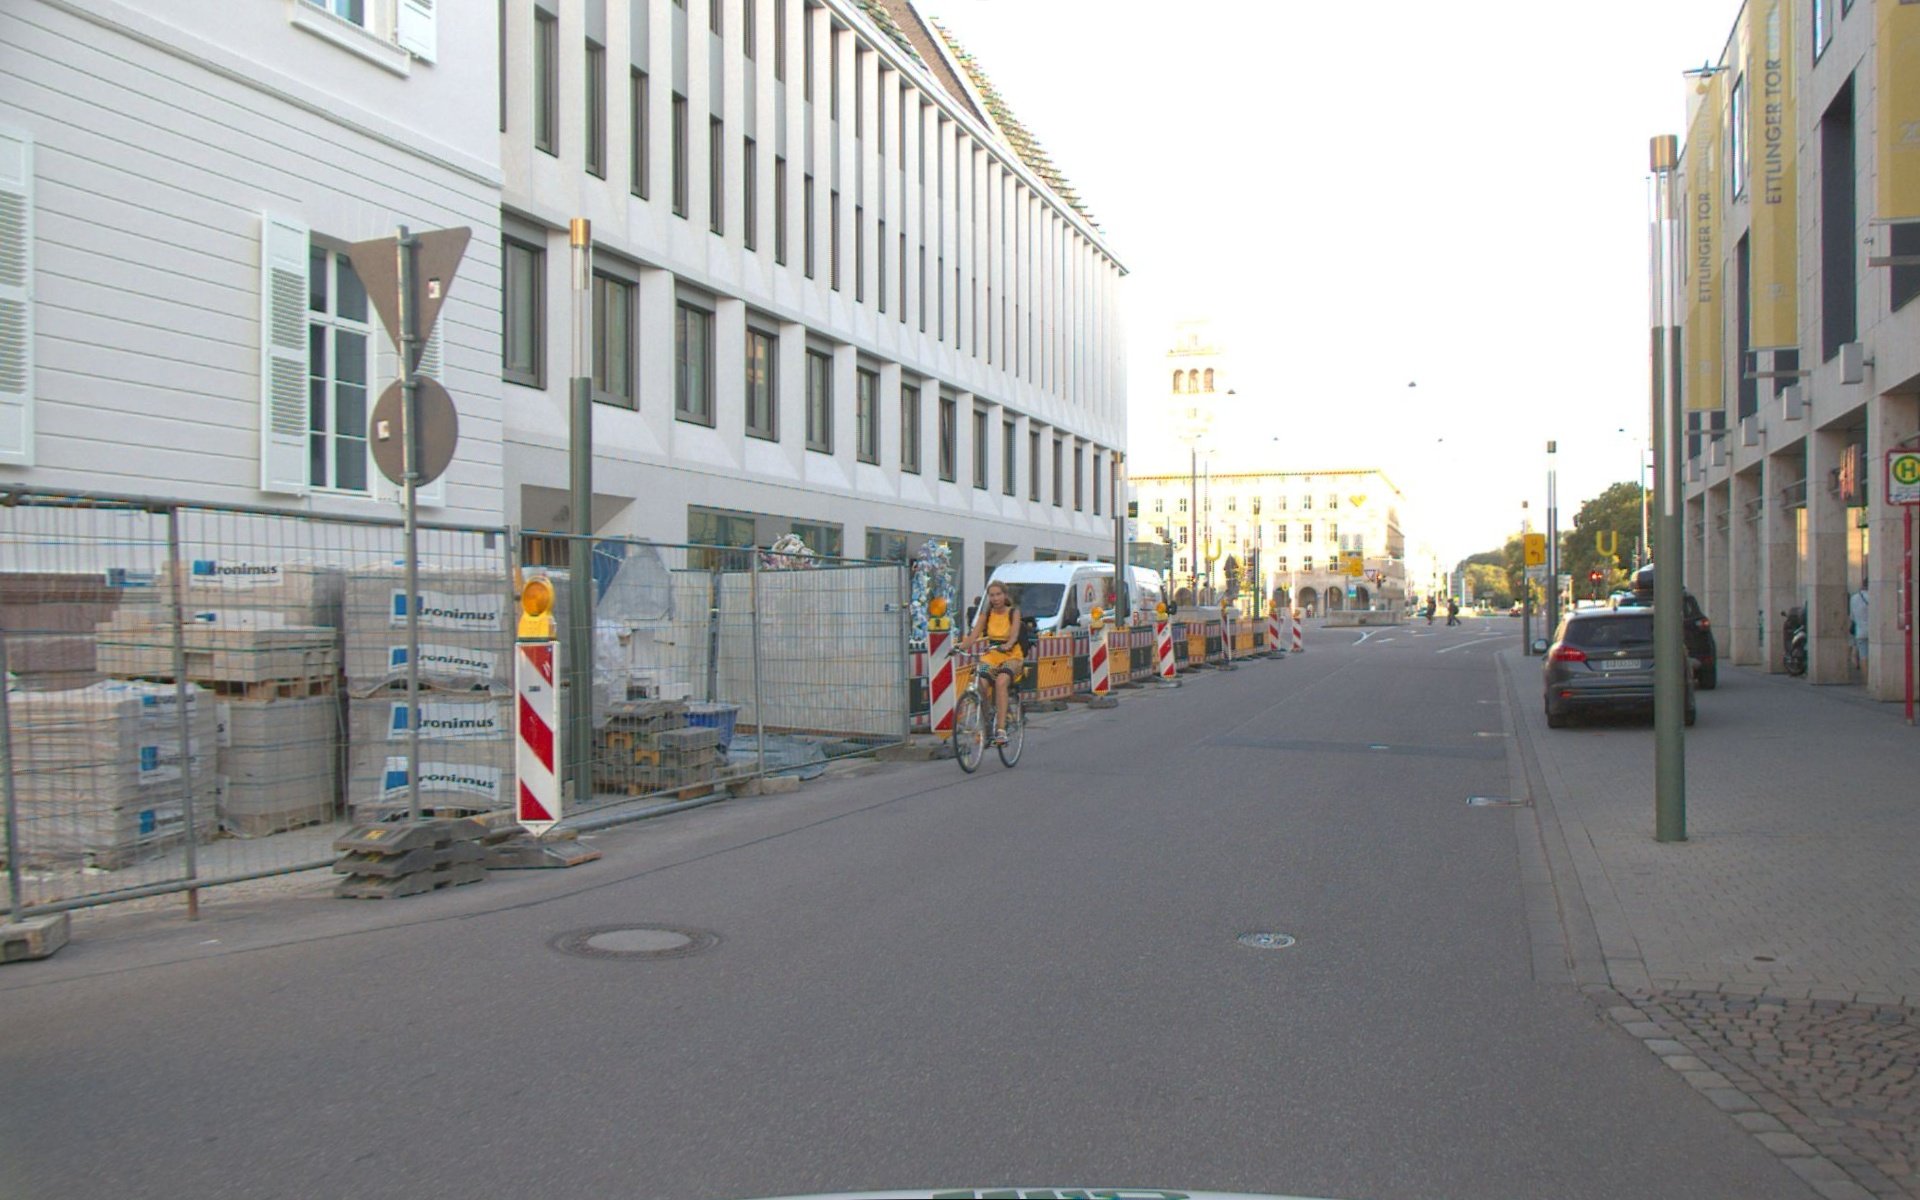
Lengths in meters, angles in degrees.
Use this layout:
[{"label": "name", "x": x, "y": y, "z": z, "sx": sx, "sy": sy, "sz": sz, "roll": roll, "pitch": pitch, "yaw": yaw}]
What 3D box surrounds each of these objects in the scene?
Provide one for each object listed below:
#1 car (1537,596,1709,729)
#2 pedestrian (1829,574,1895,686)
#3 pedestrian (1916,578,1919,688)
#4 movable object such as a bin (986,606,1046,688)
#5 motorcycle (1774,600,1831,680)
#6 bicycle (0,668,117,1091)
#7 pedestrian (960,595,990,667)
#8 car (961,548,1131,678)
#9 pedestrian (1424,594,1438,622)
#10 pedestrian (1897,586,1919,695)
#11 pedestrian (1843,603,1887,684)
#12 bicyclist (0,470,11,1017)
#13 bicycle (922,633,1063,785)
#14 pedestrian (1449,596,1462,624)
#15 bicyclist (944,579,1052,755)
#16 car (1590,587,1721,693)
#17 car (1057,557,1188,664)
[{"label": "car", "x": 8.657, "y": 0.764, "z": 21.893, "sx": 1.757, "sy": 1.516, "sz": 4.194, "roll": -4, "pitch": -1, "yaw": 18}, {"label": "pedestrian", "x": 14.104, "y": 0.460, "z": 25.874, "sx": 0.748, "sy": 1.710, "sz": 0.877, "roll": 0, "pitch": 1, "yaw": 17}, {"label": "pedestrian", "x": 15.179, "y": 0.516, "z": 25.341, "sx": 0.748, "sy": 1.710, "sz": 0.877, "roll": 0, "pitch": 1, "yaw": 17}, {"label": "movable object such as a bin", "x": 1.065, "y": 0.866, "z": 31.023, "sx": 1.021, "sy": 1.492, "sz": 1.395, "roll": 0, "pitch": 0, "yaw": 6}, {"label": "motorcycle", "x": 15.833, "y": 0.722, "z": 31.122, "sx": 0.678, "sy": 1.441, "sz": 2.136, "roll": 0, "pitch": 0, "yaw": 20}, {"label": "bicycle", "x": -3.422, "y": 0.847, "z": 4.410, "sx": 0.779, "sy": 1.238, "sz": 2.235, "roll": 0, "pitch": 0, "yaw": 16}, {"label": "pedestrian", "x": 0.337, "y": 0.697, "z": 37.074, "sx": 0.531, "sy": 1.605, "sz": 0.580, "roll": 0, "pitch": 0, "yaw": 16}, {"label": "car", "x": 1.954, "y": 0.242, "z": 35.066, "sx": 2.128, "sy": 2.513, "sz": 6.002, "roll": 0, "pitch": 0, "yaw": 18}, {"label": "pedestrian", "x": 31.004, "y": 0.522, "z": 108.908, "sx": 0.723, "sy": 1.808, "sz": 0.863, "roll": -3, "pitch": -1, "yaw": 22}, {"label": "pedestrian", "x": 14.623, "y": 0.593, "z": 24.863, "sx": 0.748, "sy": 1.595, "sz": 0.877, "roll": 0, "pitch": 1, "yaw": 17}, {"label": "pedestrian", "x": 18.267, "y": 0.866, "z": 33.398, "sx": 0.620, "sy": 1.595, "sz": 0.775, "roll": 0, "pitch": 1, "yaw": 17}, {"label": "bicyclist", "x": -3.399, "y": 0.430, "z": 4.493, "sx": 0.779, "sy": 1.631, "sz": 1.231, "roll": 0, "pitch": 0, "yaw": 16}, {"label": "bicycle", "x": 0.339, "y": 0.948, "z": 15.200, "sx": 0.779, "sy": 1.238, "sz": 2.235, "roll": 0, "pitch": 0, "yaw": 15}, {"label": "pedestrian", "x": 31.809, "y": 0.643, "z": 106.160, "sx": 0.723, "sy": 1.808, "sz": 0.864, "roll": -3, "pitch": -1, "yaw": 19}, {"label": "bicyclist", "x": 0.362, "y": 0.592, "z": 15.222, "sx": 0.779, "sy": 1.559, "sz": 0.975, "roll": 0, "pitch": 0, "yaw": 15}, {"label": "car", "x": 12.324, "y": 0.675, "z": 29.522, "sx": 1.731, "sy": 1.666, "sz": 4.059, "roll": -4, "pitch": -1, "yaw": 18}, {"label": "car", "x": 4.234, "y": 0.240, "z": 42.166, "sx": 2.128, "sy": 2.513, "sz": 6.002, "roll": 0, "pitch": 0, "yaw": 18}]
